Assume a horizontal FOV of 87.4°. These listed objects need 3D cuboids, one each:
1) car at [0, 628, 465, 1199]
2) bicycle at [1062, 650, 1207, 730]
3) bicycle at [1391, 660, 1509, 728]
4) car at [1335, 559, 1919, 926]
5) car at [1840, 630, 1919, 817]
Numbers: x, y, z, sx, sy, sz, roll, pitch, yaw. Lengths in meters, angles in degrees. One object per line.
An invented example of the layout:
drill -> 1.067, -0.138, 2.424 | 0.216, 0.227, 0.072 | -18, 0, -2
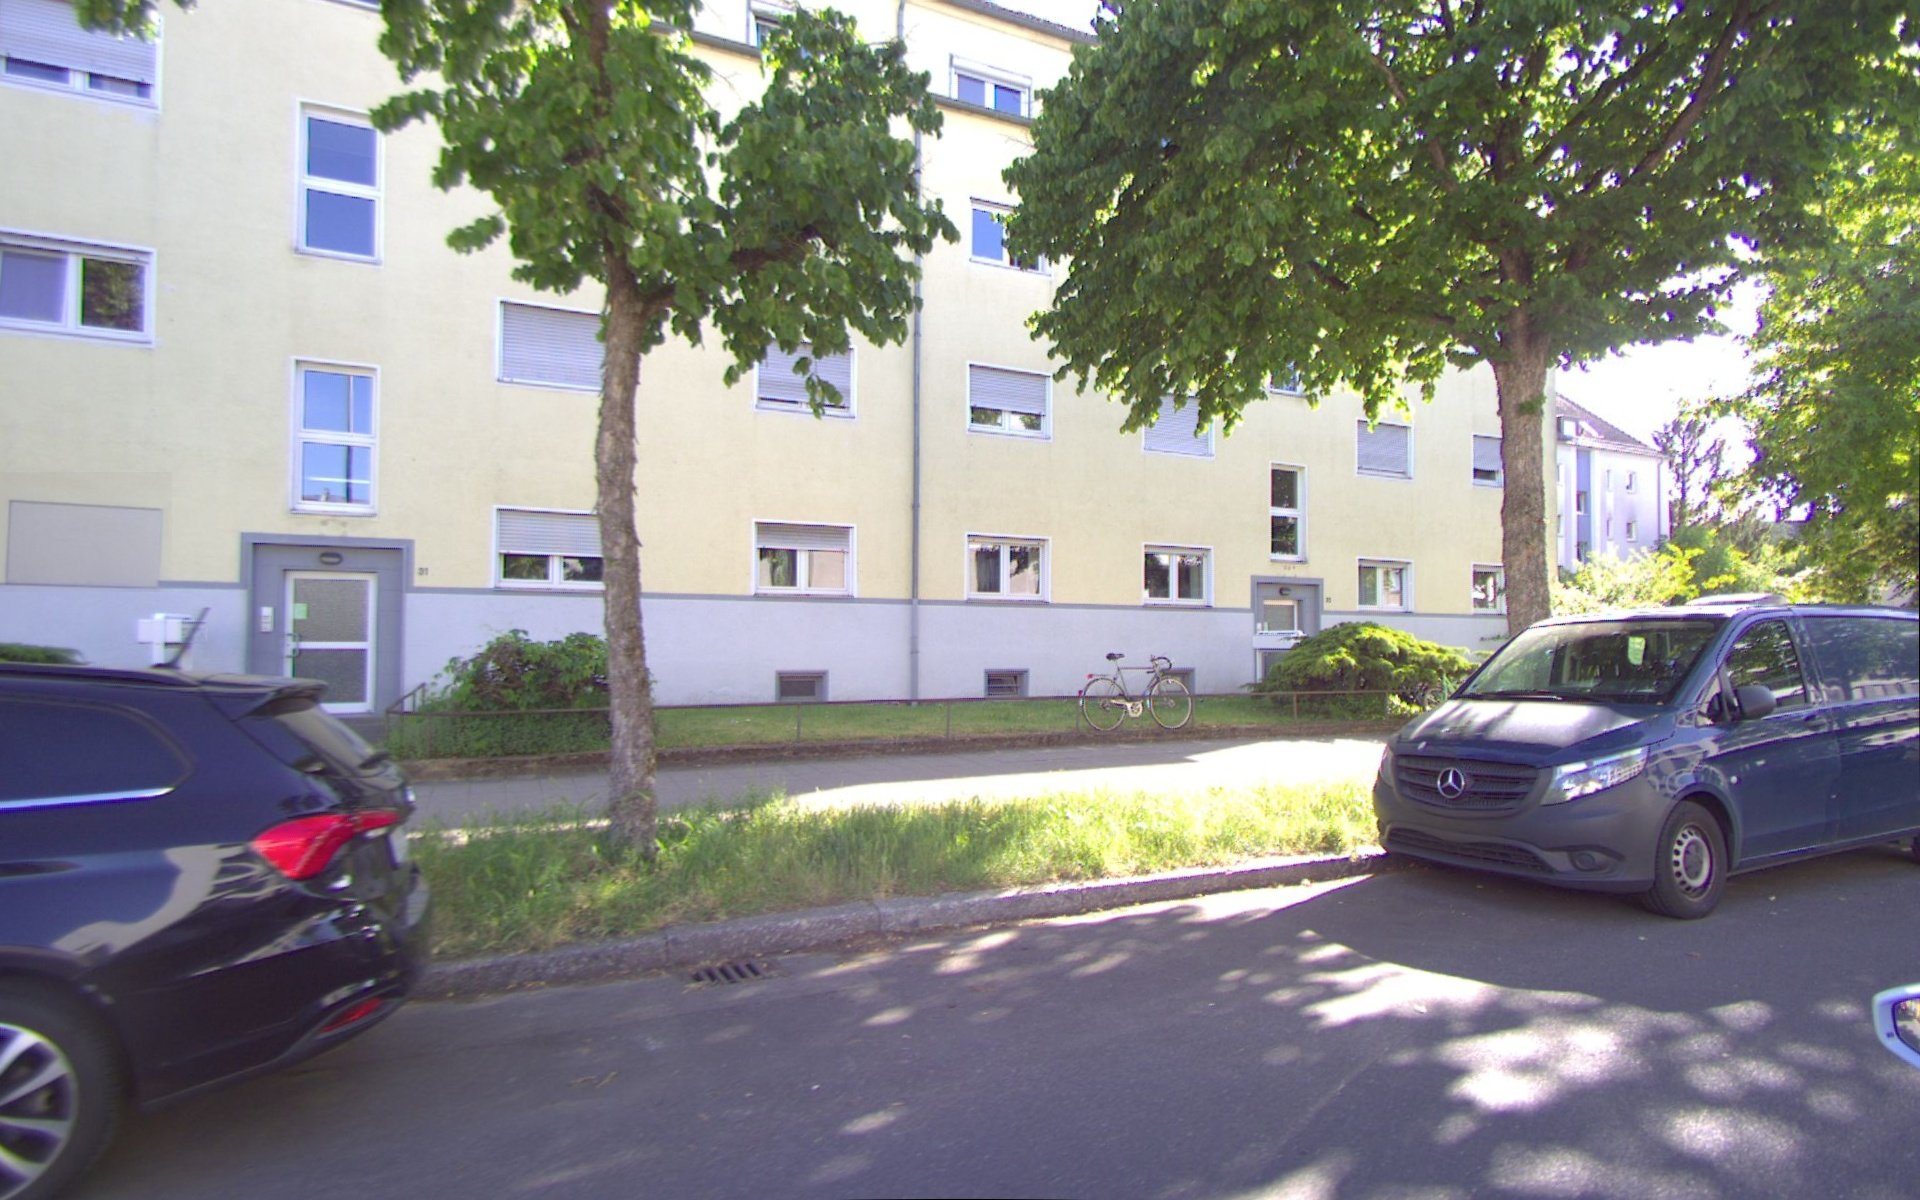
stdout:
car -> -3.990, 0.881, 2.695 | 4.714, 1.568, 1.503 | 1, -5, -26
bicycle -> 2.325, 1.167, 13.330 | 1.902, 1.004, 0.593 | 1, -3, -25
bicycle -> 7.685, 1.448, 15.736 | 1.902, 1.004, 0.593 | 1, -3, -25
car -> 5.295, 0.850, 7.210 | 5.071, 1.929, 1.822 | 1, -4, -25
car -> 10.379, 1.117, 9.544 | 4.176, 1.632, 1.606 | 1, -3, -28
